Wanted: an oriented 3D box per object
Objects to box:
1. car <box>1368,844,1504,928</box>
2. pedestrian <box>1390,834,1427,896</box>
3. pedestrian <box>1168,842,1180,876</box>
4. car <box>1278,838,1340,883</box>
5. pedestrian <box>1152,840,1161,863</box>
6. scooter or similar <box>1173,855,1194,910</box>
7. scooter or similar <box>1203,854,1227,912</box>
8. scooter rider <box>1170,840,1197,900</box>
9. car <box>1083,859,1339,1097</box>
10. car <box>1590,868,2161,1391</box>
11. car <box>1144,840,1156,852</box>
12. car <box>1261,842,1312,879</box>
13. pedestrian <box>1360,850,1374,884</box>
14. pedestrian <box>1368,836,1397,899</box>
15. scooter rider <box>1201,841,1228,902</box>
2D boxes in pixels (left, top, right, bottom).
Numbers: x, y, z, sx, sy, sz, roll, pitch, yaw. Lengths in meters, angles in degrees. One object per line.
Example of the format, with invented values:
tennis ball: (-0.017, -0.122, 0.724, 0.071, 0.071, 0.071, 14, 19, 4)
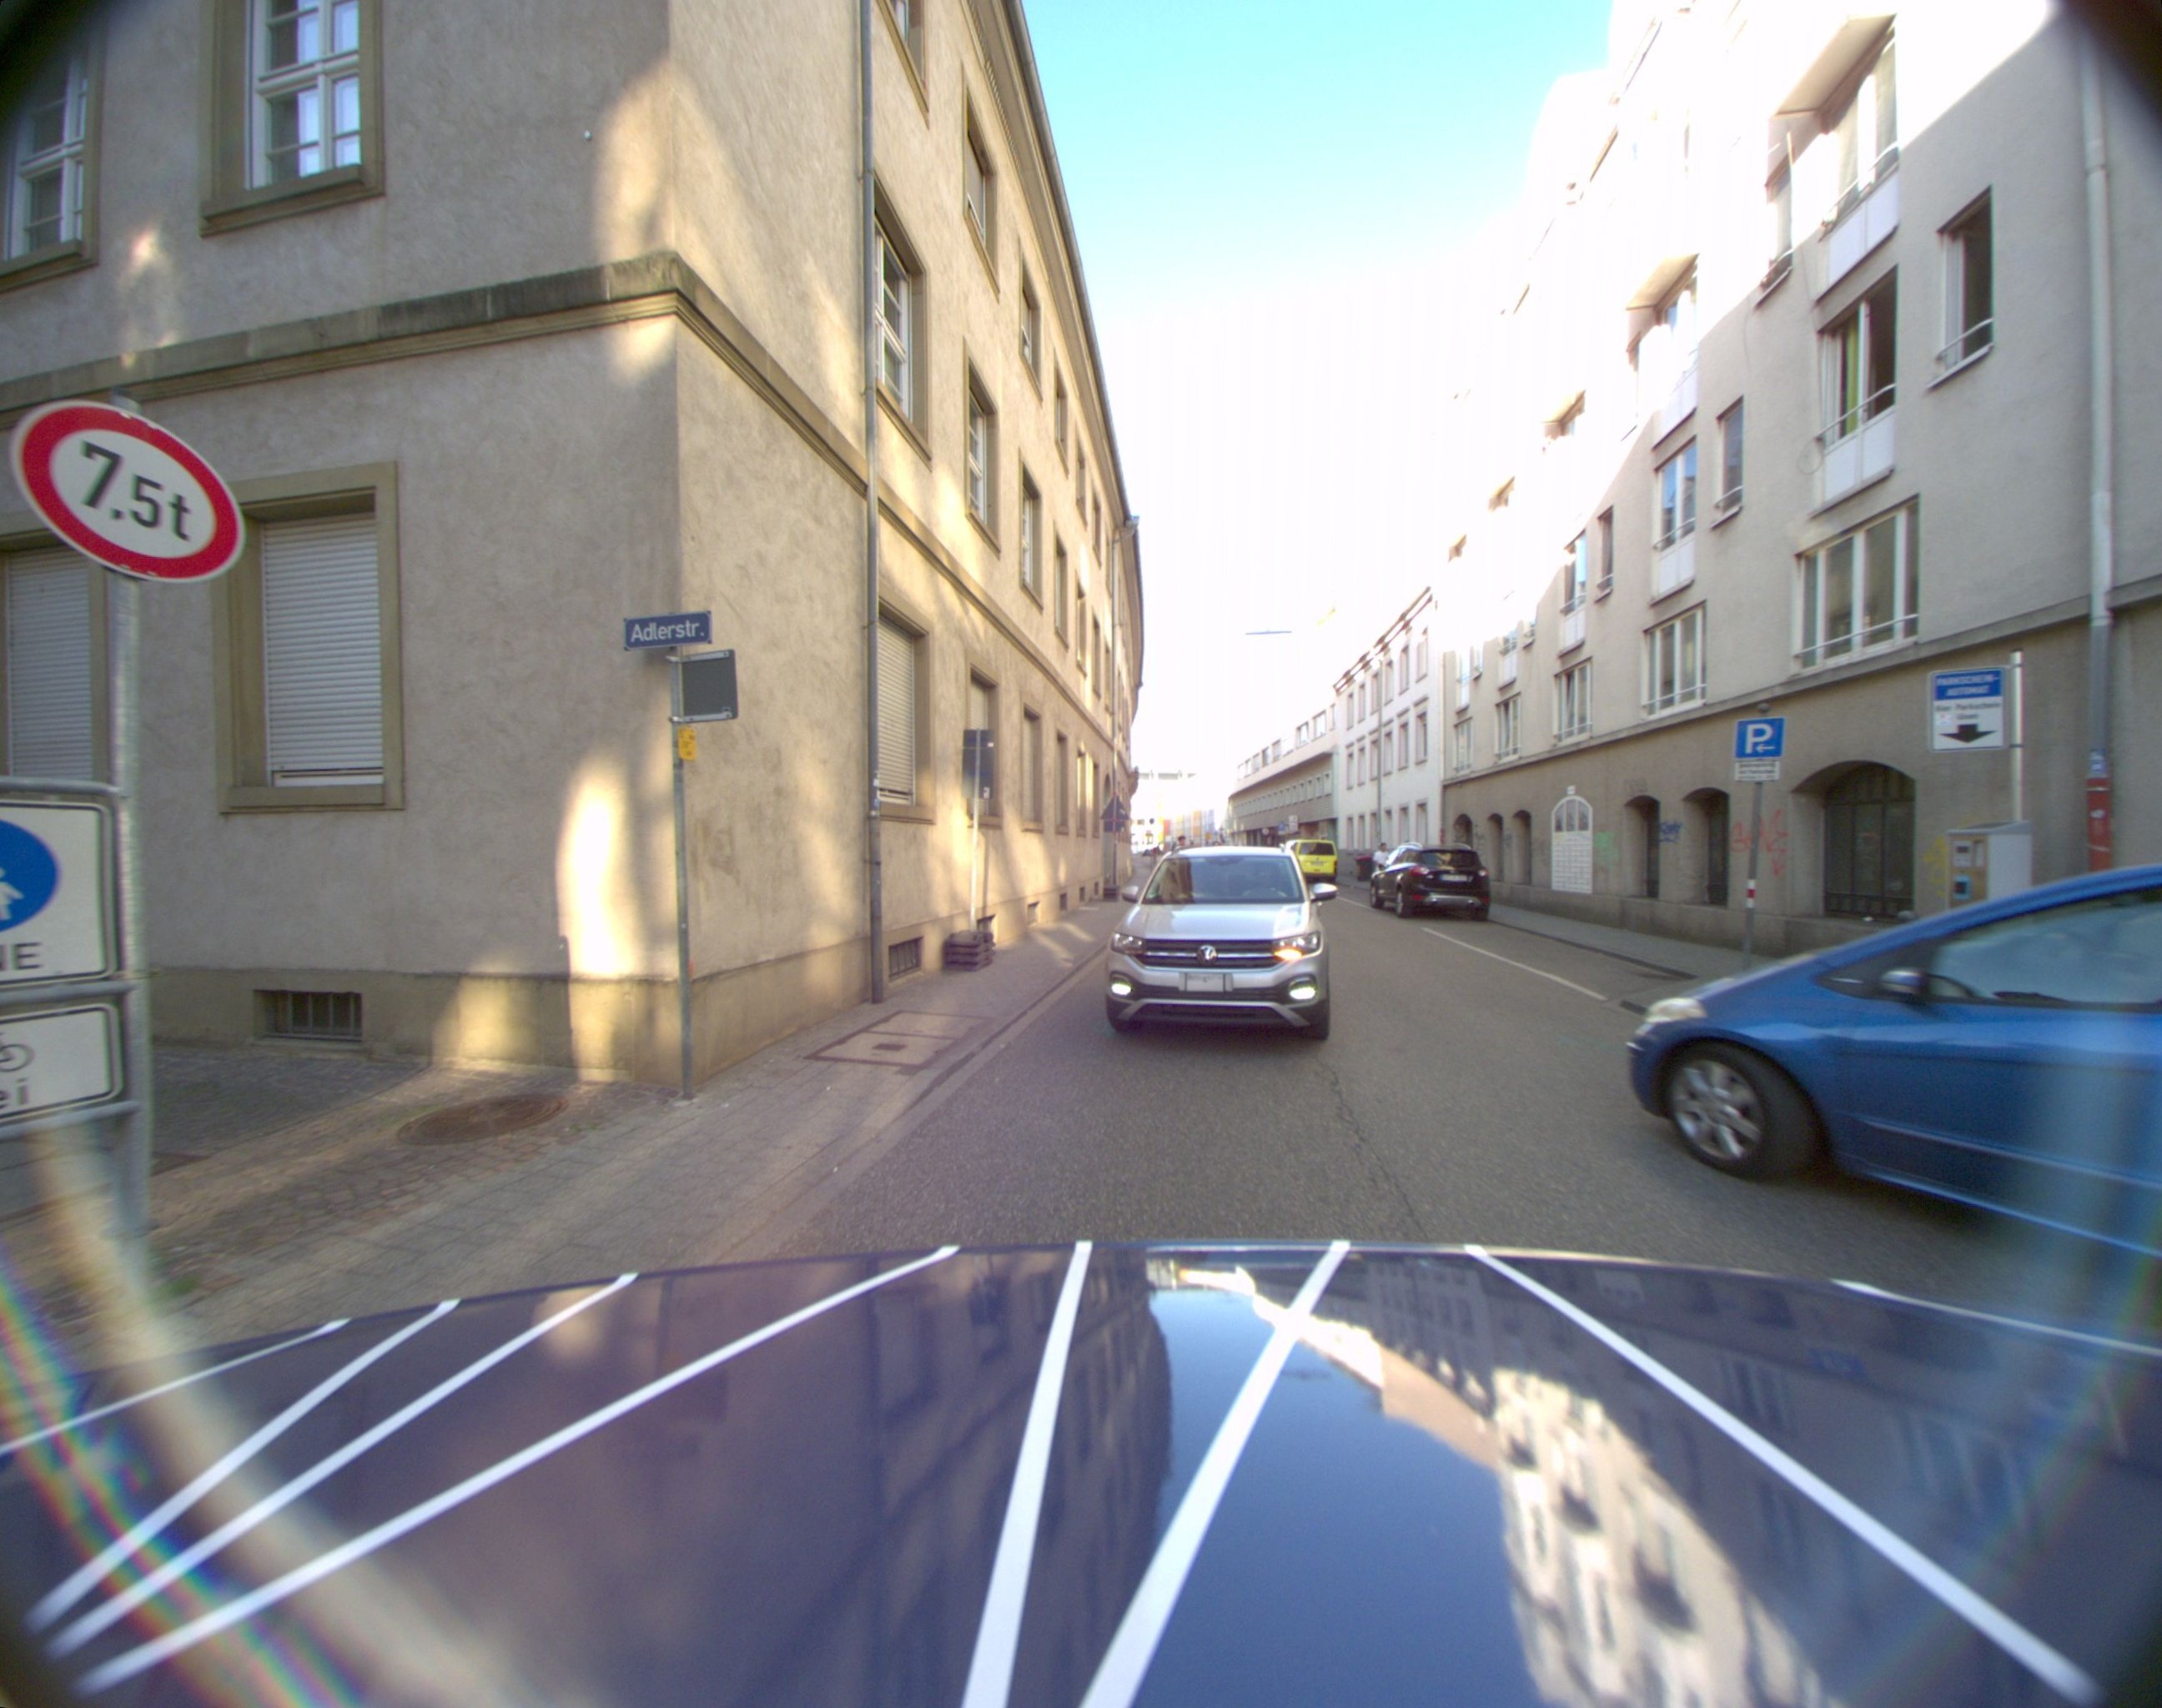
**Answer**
car: (8.172, 0.647, 17.896, 1.886, 1.695, 4.003, 2, 1, 11)
pedestrian: (10.671, 0.345, 24.790, 0.936, 2.002, 0.699, 0, 1, 8)
pedestrian: (5.680, 0.297, 46.262, 0.715, 2.002, 0.699, 0, 1, 8)
car: (10.161, 0.259, 34.140, 1.887, 1.863, 4.001, -2, 1, 6)
pedestrian: (6.478, -0.199, 65.197, 0.715, 2.002, 0.699, 0, 1, 8)
scooter or similar: (2.746, 0.724, 20.202, 0.523, 1.388, 1.556, 0, 1, 9)
scooter or similar: (3.370, 0.707, 19.168, 0.549, 1.388, 1.556, 0, 1, 9)
scooter rider: (2.775, 0.421, 20.493, 0.647, 1.584, 0.600, -2, 1, 9)
car: (1.365, 0.861, 7.285, 1.761, 1.537, 4.004, -1, 1, 14)
car: (4.226, 0.862, 2.537, 1.859, 1.583, 3.799, 1, -1, -22)
car: (11.484, -1.292, 126.564, 1.887, 1.863, 4.000, 2, 1, 3)
car: (10.811, 0.304, 40.245, 1.887, 1.758, 4.001, 2, 1, 6)
pedestrian: (12.072, 0.534, 32.095, 0.555, 1.439, 0.583, 0, 1, 19)
pedestrian: (9.777, 0.436, 24.632, 0.715, 2.002, 0.699, 0, 1, 8)
scooter rider: (3.377, 0.423, 19.232, 0.591, 1.500, 0.600, -2, 1, 9)
